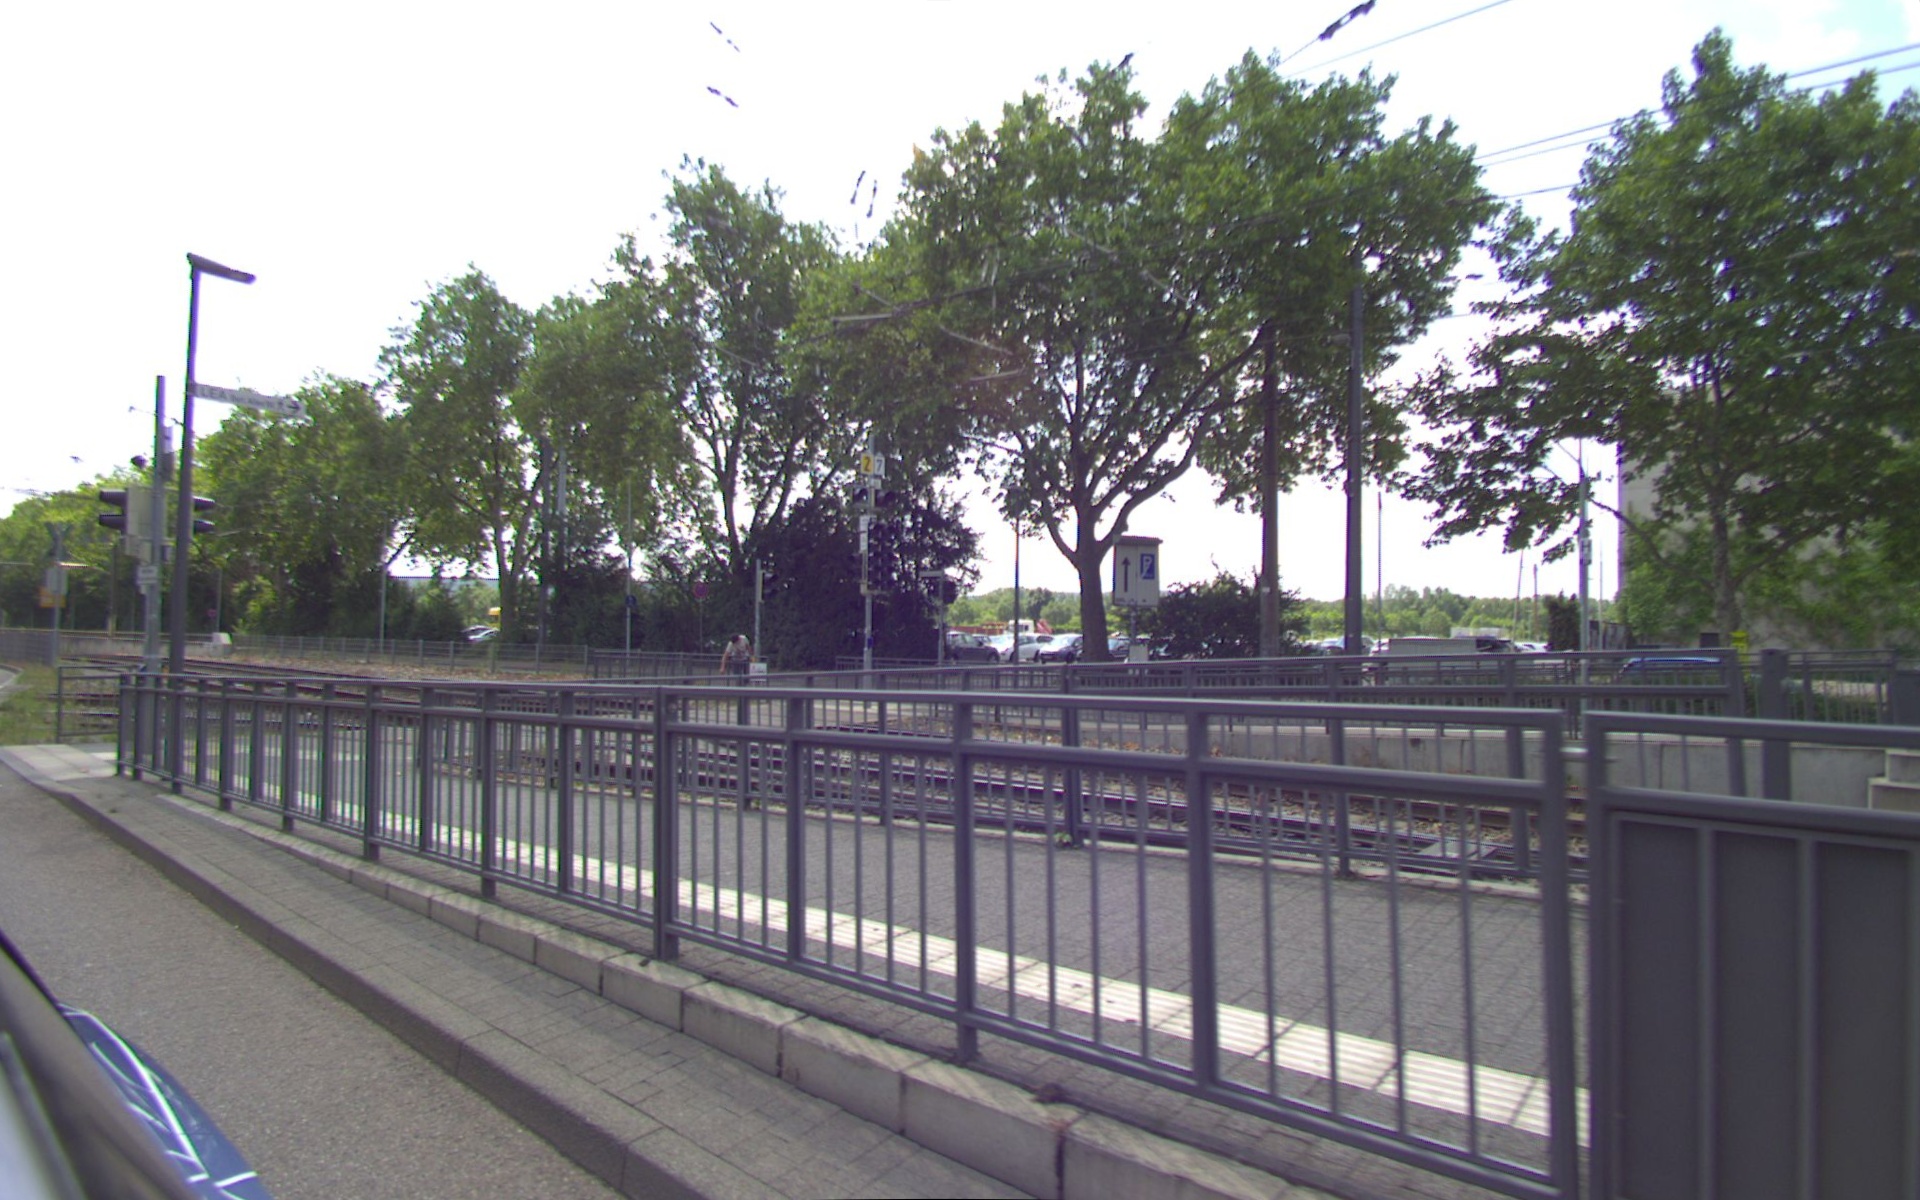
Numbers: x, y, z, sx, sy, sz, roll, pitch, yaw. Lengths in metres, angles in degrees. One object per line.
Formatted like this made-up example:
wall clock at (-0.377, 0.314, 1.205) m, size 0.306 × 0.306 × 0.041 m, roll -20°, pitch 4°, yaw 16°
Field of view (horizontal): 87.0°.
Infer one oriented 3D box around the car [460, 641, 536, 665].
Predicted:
car at (-29.506, 3.372, 64.657) m, size 1.999 × 1.453 × 3.946 m, roll -2°, pitch -4°, yaw 40°

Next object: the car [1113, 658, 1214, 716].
car at (6.820, 2.851, 33.670) m, size 1.800 × 1.763 × 3.950 m, roll -2°, pitch -4°, yaw 37°

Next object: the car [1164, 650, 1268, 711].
car at (8.133, 2.495, 31.932) m, size 1.800 × 1.763 × 3.950 m, roll -2°, pitch -4°, yaw 37°

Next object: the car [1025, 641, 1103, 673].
car at (5.184, 2.814, 50.163) m, size 1.832 × 1.497 × 3.941 m, roll -2°, pitch -3°, yaw 45°

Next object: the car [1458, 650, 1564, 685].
car at (25.725, 3.136, 47.322) m, size 4.103 × 1.494 × 1.860 m, roll -1°, pitch -5°, yaw 40°

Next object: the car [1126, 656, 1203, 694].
car at (9.495, 3.429, 46.853) m, size 1.777 × 1.438 × 3.945 m, roll -1°, pitch -1°, yaw 41°

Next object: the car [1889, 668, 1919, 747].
car at (20.575, 2.112, 19.658) m, size 3.653 × 1.546 × 1.672 m, roll -3°, pitch -5°, yaw 43°

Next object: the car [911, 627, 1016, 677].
car at (0.191, 2.098, 40.603) m, size 1.999 × 1.845 × 4.054 m, roll -1°, pitch -5°, yaw 41°

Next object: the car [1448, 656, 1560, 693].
car at (24.106, 3.290, 44.881) m, size 4.103 × 1.494 × 1.860 m, roll -1°, pitch -5°, yaw 40°

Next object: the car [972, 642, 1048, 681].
car at (2.635, 3.219, 52.646) m, size 1.997 × 1.913 × 4.058 m, roll -1°, pitch -5°, yaw 38°

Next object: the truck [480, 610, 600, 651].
truck at (-48.248, 3.647, 116.846) m, size 2.747 × 4.105 × 12.653 m, roll -2°, pitch -5°, yaw 41°

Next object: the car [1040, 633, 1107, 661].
car at (6.442, 2.660, 57.077) m, size 1.717 × 1.497 × 3.941 m, roll -2°, pitch -3°, yaw 44°

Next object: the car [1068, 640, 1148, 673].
car at (7.158, 2.689, 48.617) m, size 1.832 × 1.497 × 3.941 m, roll -1°, pitch -3°, yaw 45°

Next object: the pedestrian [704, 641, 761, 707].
pedestrian at (-4.892, 1.586, 21.839) m, size 0.912 × 1.354 × 0.862 m, roll 1°, pitch -4°, yaw 7°

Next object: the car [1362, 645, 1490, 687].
car at (17.204, 2.416, 37.475) m, size 3.996 × 1.487 × 1.779 m, roll -2°, pitch -4°, yaw 40°

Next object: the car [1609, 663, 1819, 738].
car at (17.176, 2.230, 23.151) m, size 3.653 × 1.546 × 1.672 m, roll -3°, pitch -5°, yaw 43°
